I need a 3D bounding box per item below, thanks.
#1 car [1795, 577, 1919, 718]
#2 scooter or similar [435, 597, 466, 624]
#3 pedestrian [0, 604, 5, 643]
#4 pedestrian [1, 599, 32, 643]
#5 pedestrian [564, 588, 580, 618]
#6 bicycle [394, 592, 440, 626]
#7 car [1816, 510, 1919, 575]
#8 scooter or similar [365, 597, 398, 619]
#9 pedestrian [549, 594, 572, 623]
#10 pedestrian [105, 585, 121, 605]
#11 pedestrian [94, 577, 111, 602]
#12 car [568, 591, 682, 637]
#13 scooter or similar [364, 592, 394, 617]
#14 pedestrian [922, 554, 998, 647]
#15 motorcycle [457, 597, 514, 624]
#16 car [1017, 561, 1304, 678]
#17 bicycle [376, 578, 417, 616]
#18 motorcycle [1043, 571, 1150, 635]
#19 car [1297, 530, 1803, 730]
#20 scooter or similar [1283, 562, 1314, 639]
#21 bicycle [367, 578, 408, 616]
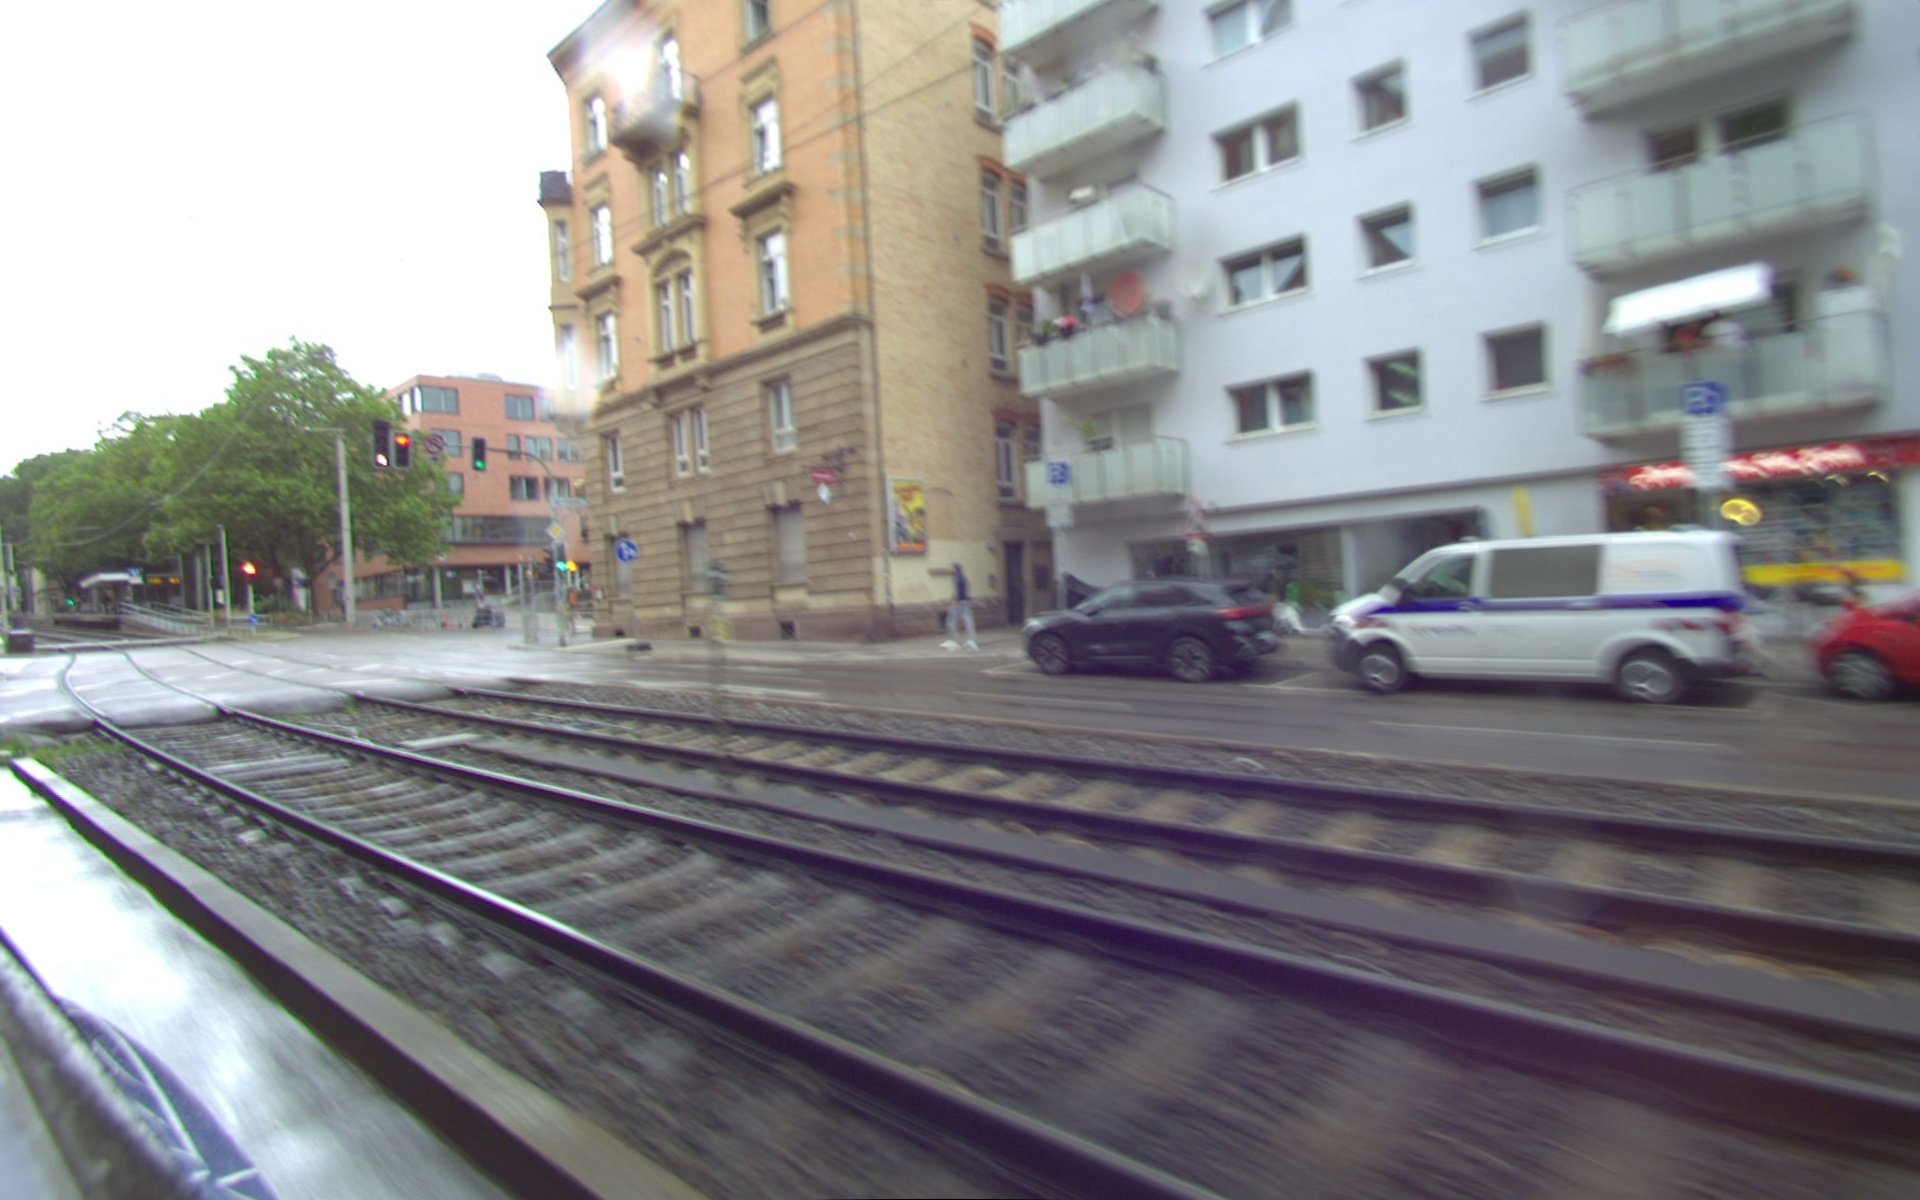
[{"bbox_3d":[11.061,0.506,10.052,1.756,1.444,3.993,-2,2,-14],"label":"car"},{"bbox_3d":[-27.053,0.541,53.758,0.450,1.381,1.494,-1,1,25],"label":"scooter or similar"},{"bbox_3d":[-40.689,0.993,42.423,1.001,1.616,0.826,0,1,41],"label":"pedestrian"},{"bbox_3d":[-40.018,0.890,42.930,1.001,1.812,0.817,0,1,41],"label":"pedestrian"},{"bbox_3d":[-24.292,0.185,63.369,0.780,1.757,1.072,-1,5,-14],"label":"pedestrian"},{"bbox_3d":[-29.158,0.470,54.337,0.556,1.710,2.072,2,5,36],"label":"bicycle"},{"bbox_3d":[29.397,-1.817,31.553,4.045,1.877,1.698,-2,1,40],"label":"car"},{"bbox_3d":[-32.657,0.462,57.174,0.475,1.203,1.706,0,1,21],"label":"scooter or similar"},{"bbox_3d":[-23.869,0.493,60.427,1.009,1.743,0.886,1,1,42],"label":"pedestrian"},{"bbox_3d":[-66.384,-0.382,79.335,0.883,1.494,0.772,0,1,39],"label":"pedestrian"},{"bbox_3d":[-70.001,-0.850,82.613,0.883,2.077,0.826,0,1,39],"label":"pedestrian"},{"bbox_3d":[-12.551,0.480,38.064,1.774,1.549,3.753,0,1,35],"label":"car"},{"bbox_3d":[-33.107,0.251,57.668,0.450,1.381,1.494,-1,1,25],"label":"scooter or similar"},{"bbox_3d":[0.008,-0.005,21.997,1.175,1.943,1.162,-1,1,35],"label":"pedestrian"},{"bbox_3d":[-24.997,0.530,53.357,0.864,1.381,2.627,0,1,36],"label":"motorcycle"},{"bbox_3d":[3.189,0.261,16.652,4.363,1.663,1.714,0,2,42],"label":"car"},{"bbox_3d":[-30.900,-0.178,55.541,0.518,2.028,1.874,0,2,36],"label":"bicycle"},{"bbox_3d":[3.126,0.057,23.267,2.309,1.386,0.919,0,2,43],"label":"motorcycle"},{"bbox_3d":[7.357,0.284,13.041,5.301,2.024,2.048,-1,4,43],"label":"car"},{"bbox_3d":[6.811,-0.004,20.340,0.315,1.213,1.086,-1,21,30],"label":"scooter or similar"},{"bbox_3d":[-31.714,-0.176,56.119,0.518,2.028,1.874,0,2,36],"label":"bicycle"}]
